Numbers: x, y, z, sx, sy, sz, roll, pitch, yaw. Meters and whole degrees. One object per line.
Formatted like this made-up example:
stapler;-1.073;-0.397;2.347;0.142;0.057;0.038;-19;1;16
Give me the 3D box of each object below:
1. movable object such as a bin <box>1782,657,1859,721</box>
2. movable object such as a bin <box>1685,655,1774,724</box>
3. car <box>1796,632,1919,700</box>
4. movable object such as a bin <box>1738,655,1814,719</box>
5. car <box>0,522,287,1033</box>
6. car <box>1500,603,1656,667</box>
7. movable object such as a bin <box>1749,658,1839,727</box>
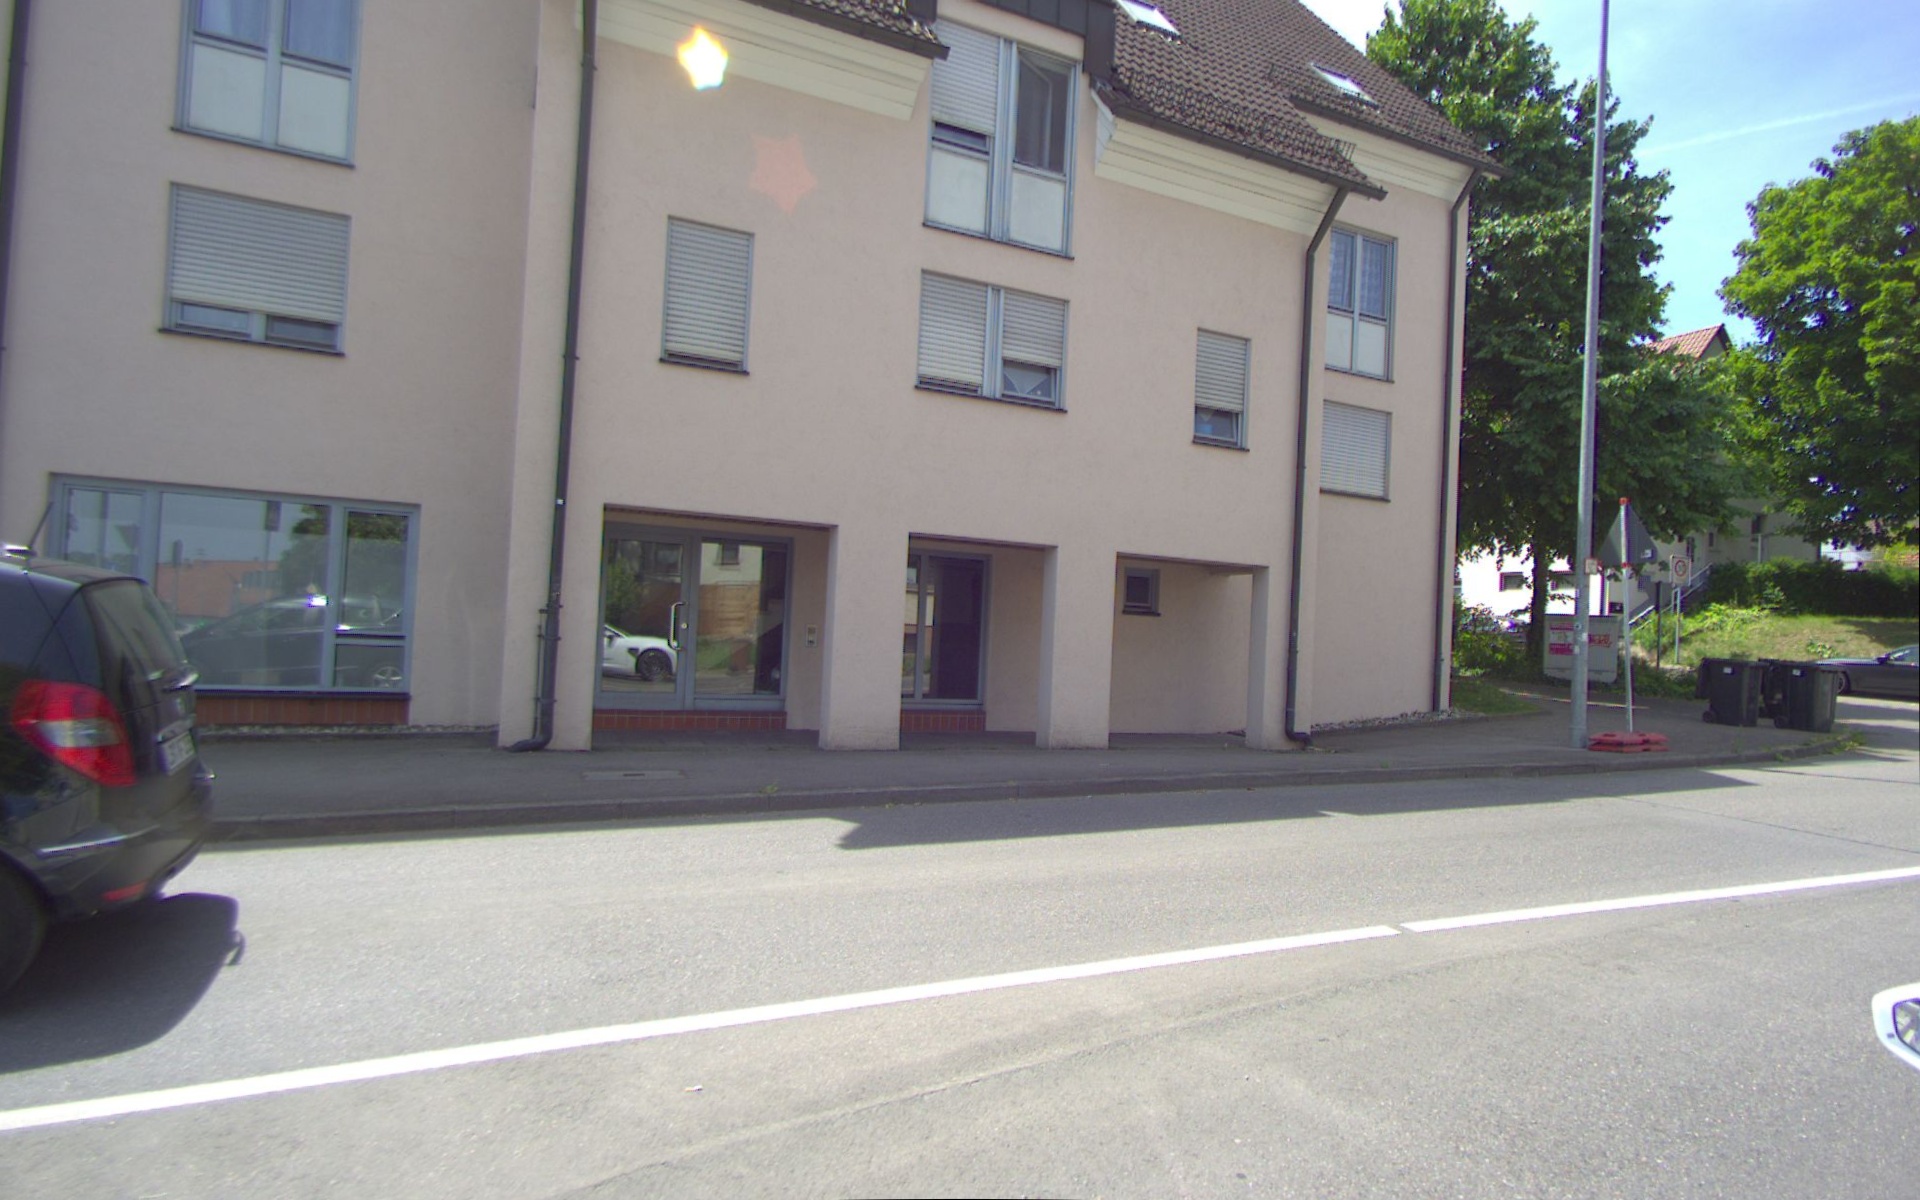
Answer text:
movable object such as a bin;15.223;1.569;17.788;0.599;1.013;0.771;4;2;-18
movable object such as a bin;12.267;1.413;16.025;0.792;1.014;0.799;2;1;-19
car;24.301;1.740;25.239;1.984;1.499;4.735;2;1;-40
movable object such as a bin;14.282;1.512;17.598;0.600;1.013;0.770;4;2;-19
car;-4.648;0.504;3.243;3.896;1.605;1.744;2;-1;-29
car;19.997;1.089;32.686;1.879;1.706;3.983;3;2;-18
movable object such as a bin;13.109;1.447;15.803;0.683;1.013;0.850;2;-1;-19
